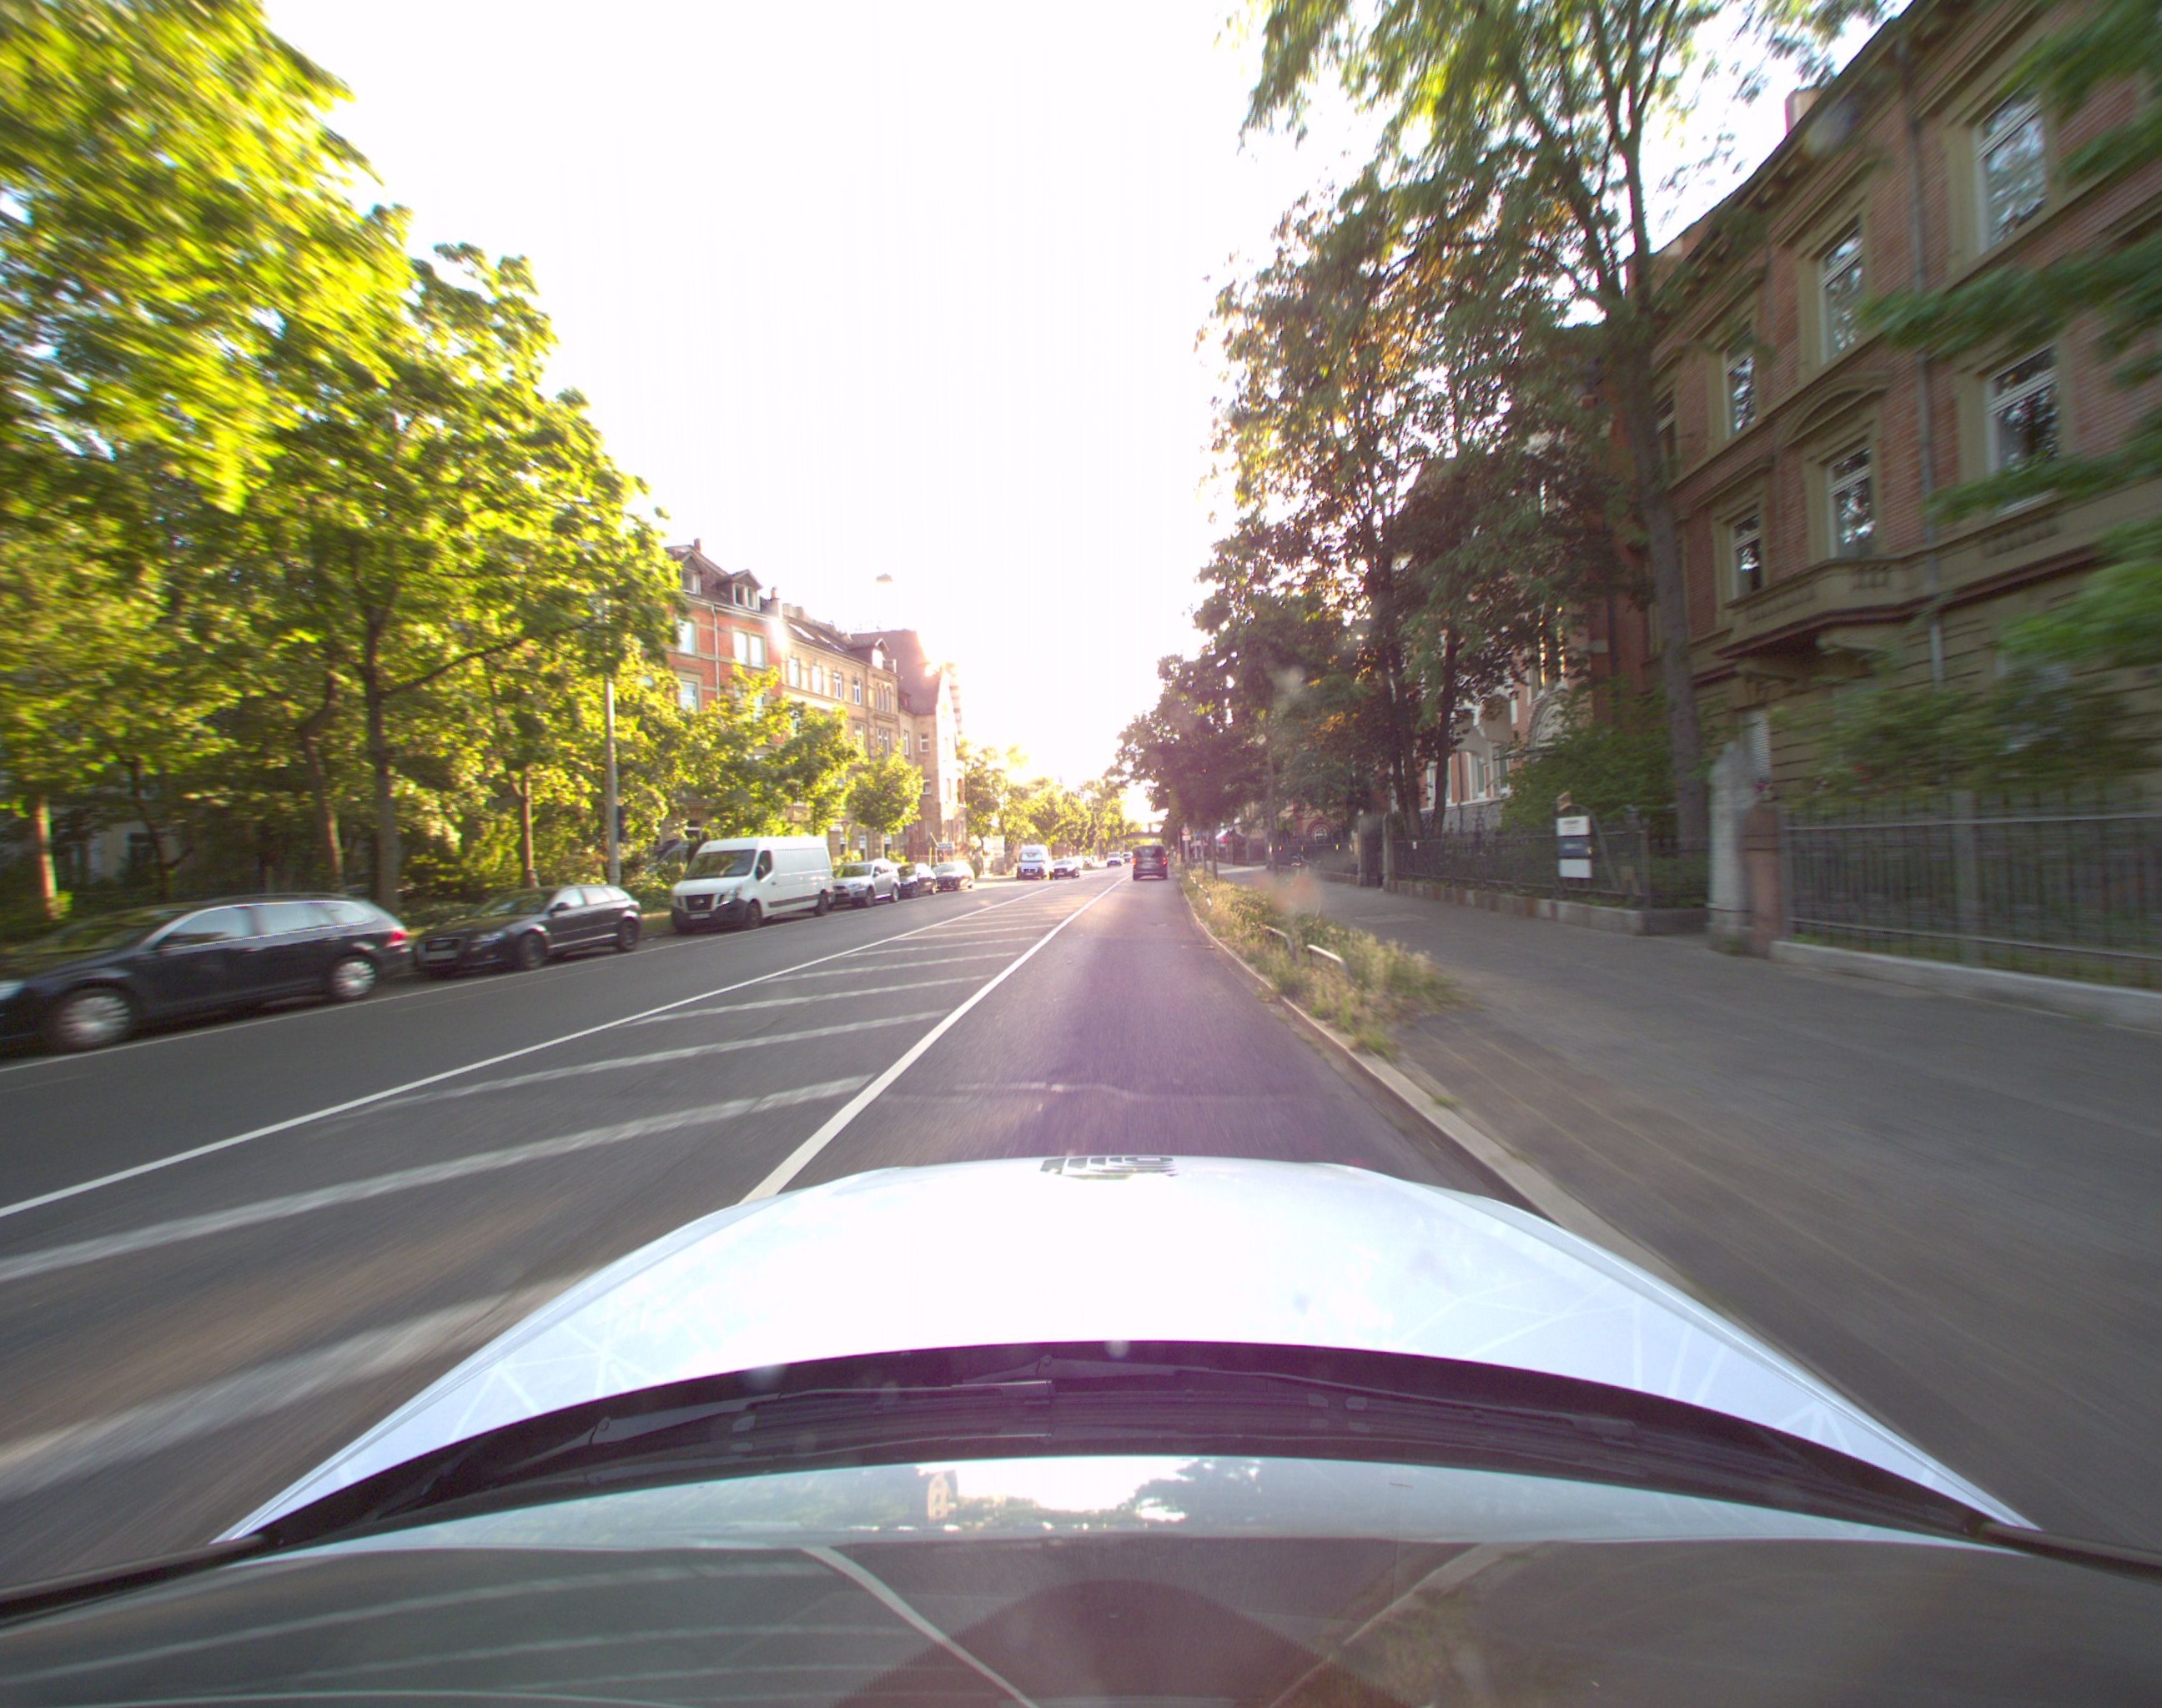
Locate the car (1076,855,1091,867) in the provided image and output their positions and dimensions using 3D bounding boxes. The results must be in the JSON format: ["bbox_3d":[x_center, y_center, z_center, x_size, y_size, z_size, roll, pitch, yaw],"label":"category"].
[{"bbox_3d":[0.361,0.898,104.292,1.630,1.385,4.005,0,0,5],"label":"car"}]

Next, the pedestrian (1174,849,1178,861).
[{"bbox_3d":[14.709,0.149,125.627,0.504,1.889,0.543,0,0,-9],"label":"pedestrian"}]

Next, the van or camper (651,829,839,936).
[{"bbox_3d":[-9.080,0.682,22.858,2.081,2.468,6.314,-3,0,5],"label":"van or camper"}]

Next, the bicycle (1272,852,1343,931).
[{"bbox_3d":[3.590,0.557,13.056,0.644,1.167,1.932,0,0,2],"label":"bicycle"}]

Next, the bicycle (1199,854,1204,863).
[{"bbox_3d":[14.603,0.504,98.692,0.515,1.040,2.092,0,0,6],"label":"bicycle"}]

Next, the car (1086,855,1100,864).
[{"bbox_3d":[2.154,0.962,143.341,1.983,1.414,4.244,0,0,6],"label":"car"}]

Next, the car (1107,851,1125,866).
[{"bbox_3d":[4.792,0.574,110.655,1.983,1.831,5.179,-3,0,7],"label":"car"}]

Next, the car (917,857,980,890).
[{"bbox_3d":[-6.744,0.971,42.108,1.984,1.483,4.836,-2,0,5],"label":"car"}]

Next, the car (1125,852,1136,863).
[{"bbox_3d":[8.804,0.599,144.762,1.824,1.852,4.480,-3,0,5],"label":"car"}]

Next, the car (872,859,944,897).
[{"bbox_3d":[-7.556,1.013,35.971,1.727,1.445,4.632,-2,0,5],"label":"car"}]

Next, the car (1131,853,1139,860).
[{"bbox_3d":[12.312,0.560,185.486,1.670,1.530,4.007,-4,0,6],"label":"car"}]

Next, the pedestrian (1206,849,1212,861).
[{"bbox_3d":[16.384,0.118,104.288,0.641,1.633,0.657,0,0,6],"label":"pedestrian"}]

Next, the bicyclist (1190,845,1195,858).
[{"bbox_3d":[13.462,-0.333,98.556,0.592,1.532,0.895,0,0,5],"label":"bicyclist"}]

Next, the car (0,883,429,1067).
[{"bbox_3d":[-10.430,1.209,9.491,1.615,1.506,4.551,-3,0,6],"label":"car"}]

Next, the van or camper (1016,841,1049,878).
[{"bbox_3d":[-3.678,0.420,62.596,1.986,2.668,6.041,0,0,2],"label":"van or camper"}]

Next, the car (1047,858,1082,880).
[{"bbox_3d":[-1.126,1.014,57.649,1.757,1.402,4.553,-3,0,7],"label":"car"}]

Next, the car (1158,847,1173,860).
[{"bbox_3d":[11.881,-0.079,114.859,1.984,1.634,4.005,-2,0,4],"label":"car"}]

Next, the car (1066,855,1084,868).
[{"bbox_3d":[-0.637,0.834,91.864,1.689,1.451,4.005,0,0,5],"label":"car"}]

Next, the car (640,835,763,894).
[{"bbox_3d":[-19.368,0.488,41.802,2.099,2.739,5.344,-4,0,31],"label":"car"}]

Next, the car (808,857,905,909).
[{"bbox_3d":[-8.175,1.011,30.089,1.857,1.645,4.578,-3,0,5],"label":"car"}]

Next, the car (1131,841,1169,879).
[{"bbox_3d":[3.842,0.317,45.158,1.877,1.925,3.846,-3,0,7],"label":"car"}]

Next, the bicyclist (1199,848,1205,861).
[{"bbox_3d":[14.685,0.077,98.775,0.592,1.532,0.895,0,0,5],"label":"bicyclist"}]

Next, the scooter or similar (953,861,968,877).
[{"bbox_3d":[-8.824,1.107,59.682,1.124,1.057,0.285,-3,0,-42],"label":"scooter or similar"}]

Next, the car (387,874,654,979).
[{"bbox_3d":[-9.904,1.197,14.887,1.621,1.429,4.248,-3,0,5],"label":"car"}]
